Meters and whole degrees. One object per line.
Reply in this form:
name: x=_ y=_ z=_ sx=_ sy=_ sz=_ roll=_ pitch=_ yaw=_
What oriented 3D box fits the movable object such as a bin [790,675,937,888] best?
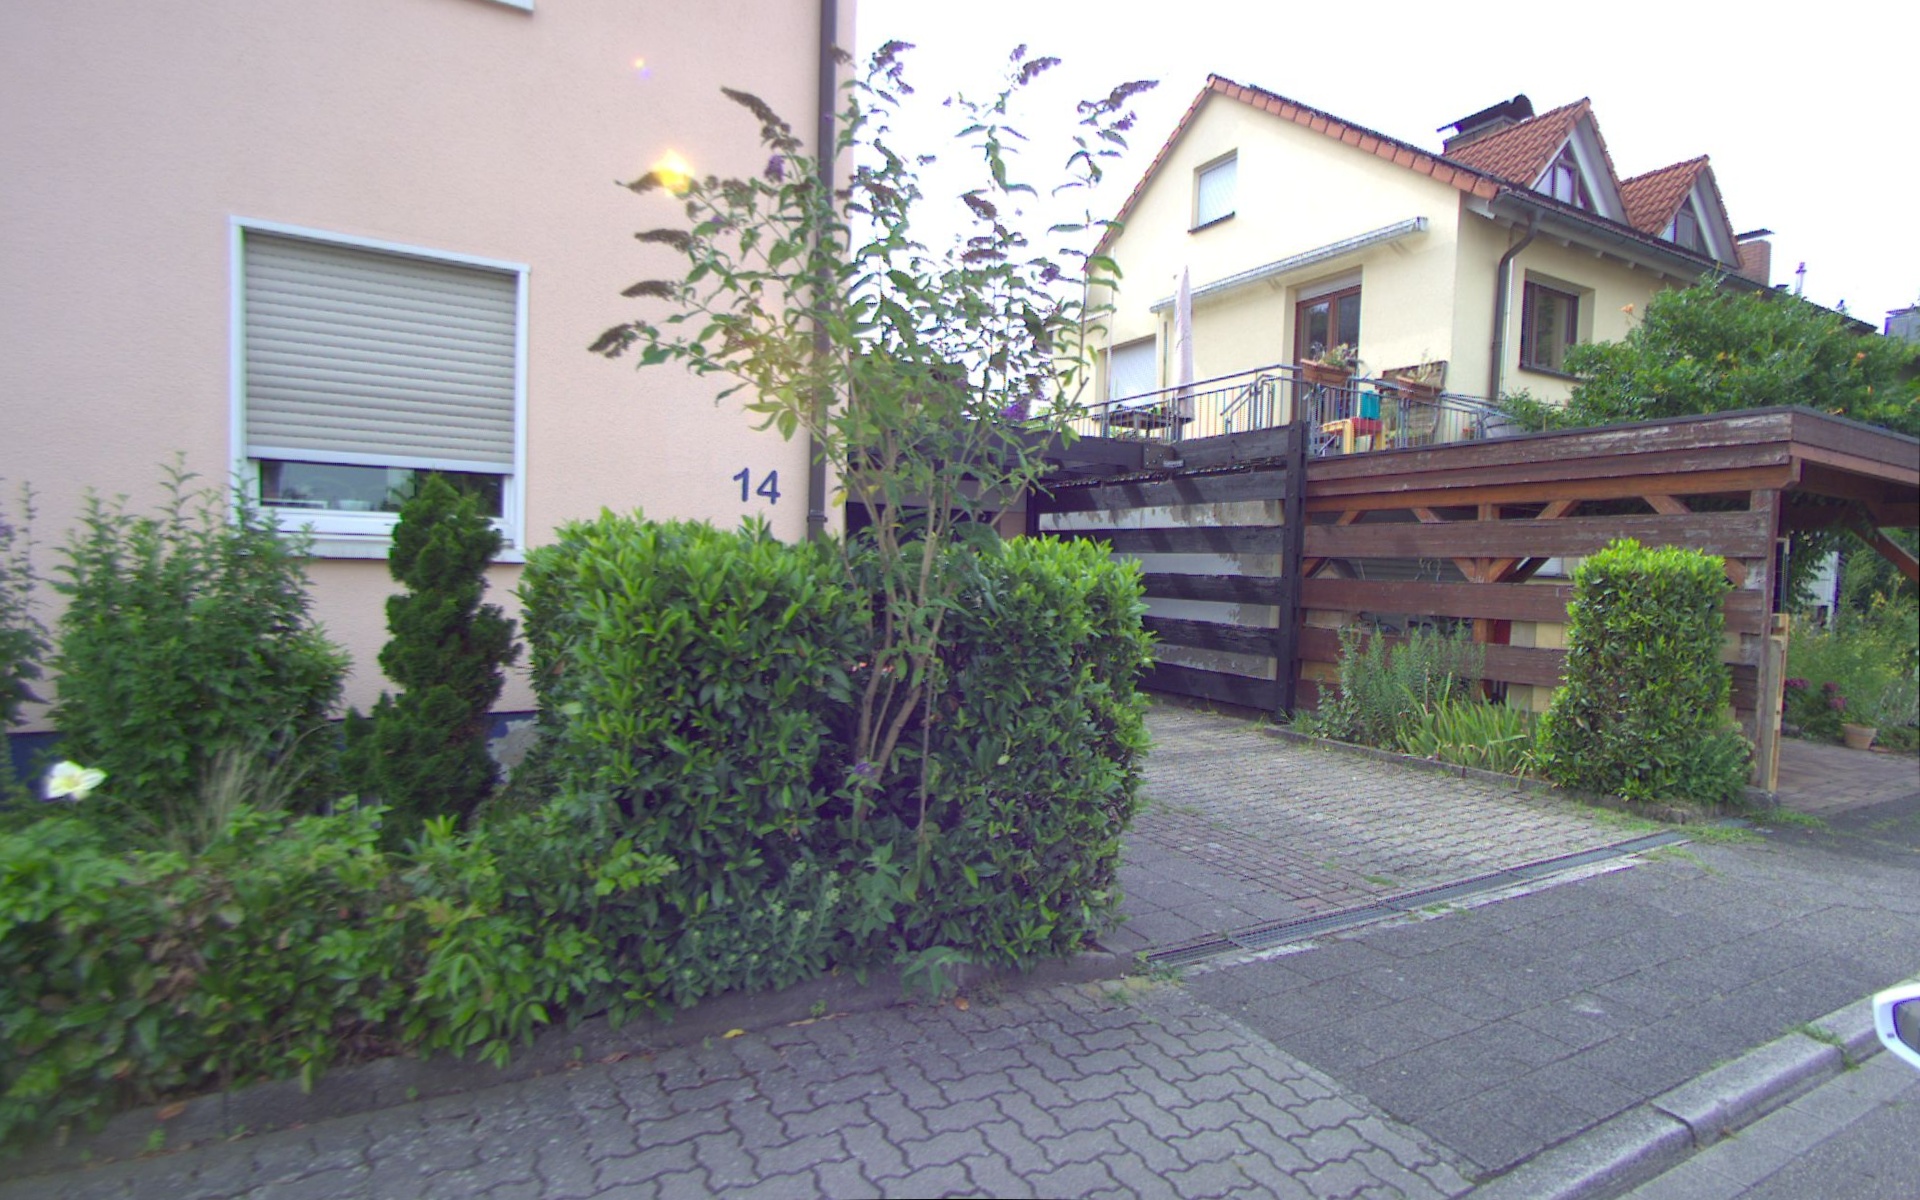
movable object such as a bin: x=-0.476 y=0.841 z=4.860 sx=0.528 sy=0.892 sz=0.535 roll=0 pitch=2 yaw=-30

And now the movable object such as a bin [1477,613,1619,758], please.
movable object such as a bin: x=5.018 y=0.694 z=8.581 sx=0.867 sy=1.145 sz=0.700 roll=0 pitch=1 yaw=-30

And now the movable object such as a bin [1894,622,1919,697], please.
movable object such as a bin: x=13.026 y=0.796 z=13.343 sx=0.742 sy=0.969 sz=0.708 roll=0 pitch=2 yaw=-30

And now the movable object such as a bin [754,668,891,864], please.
movable object such as a bin: x=-0.731 y=0.841 z=5.306 sx=0.577 sy=0.915 sz=0.478 roll=0 pitch=1 yaw=-30
